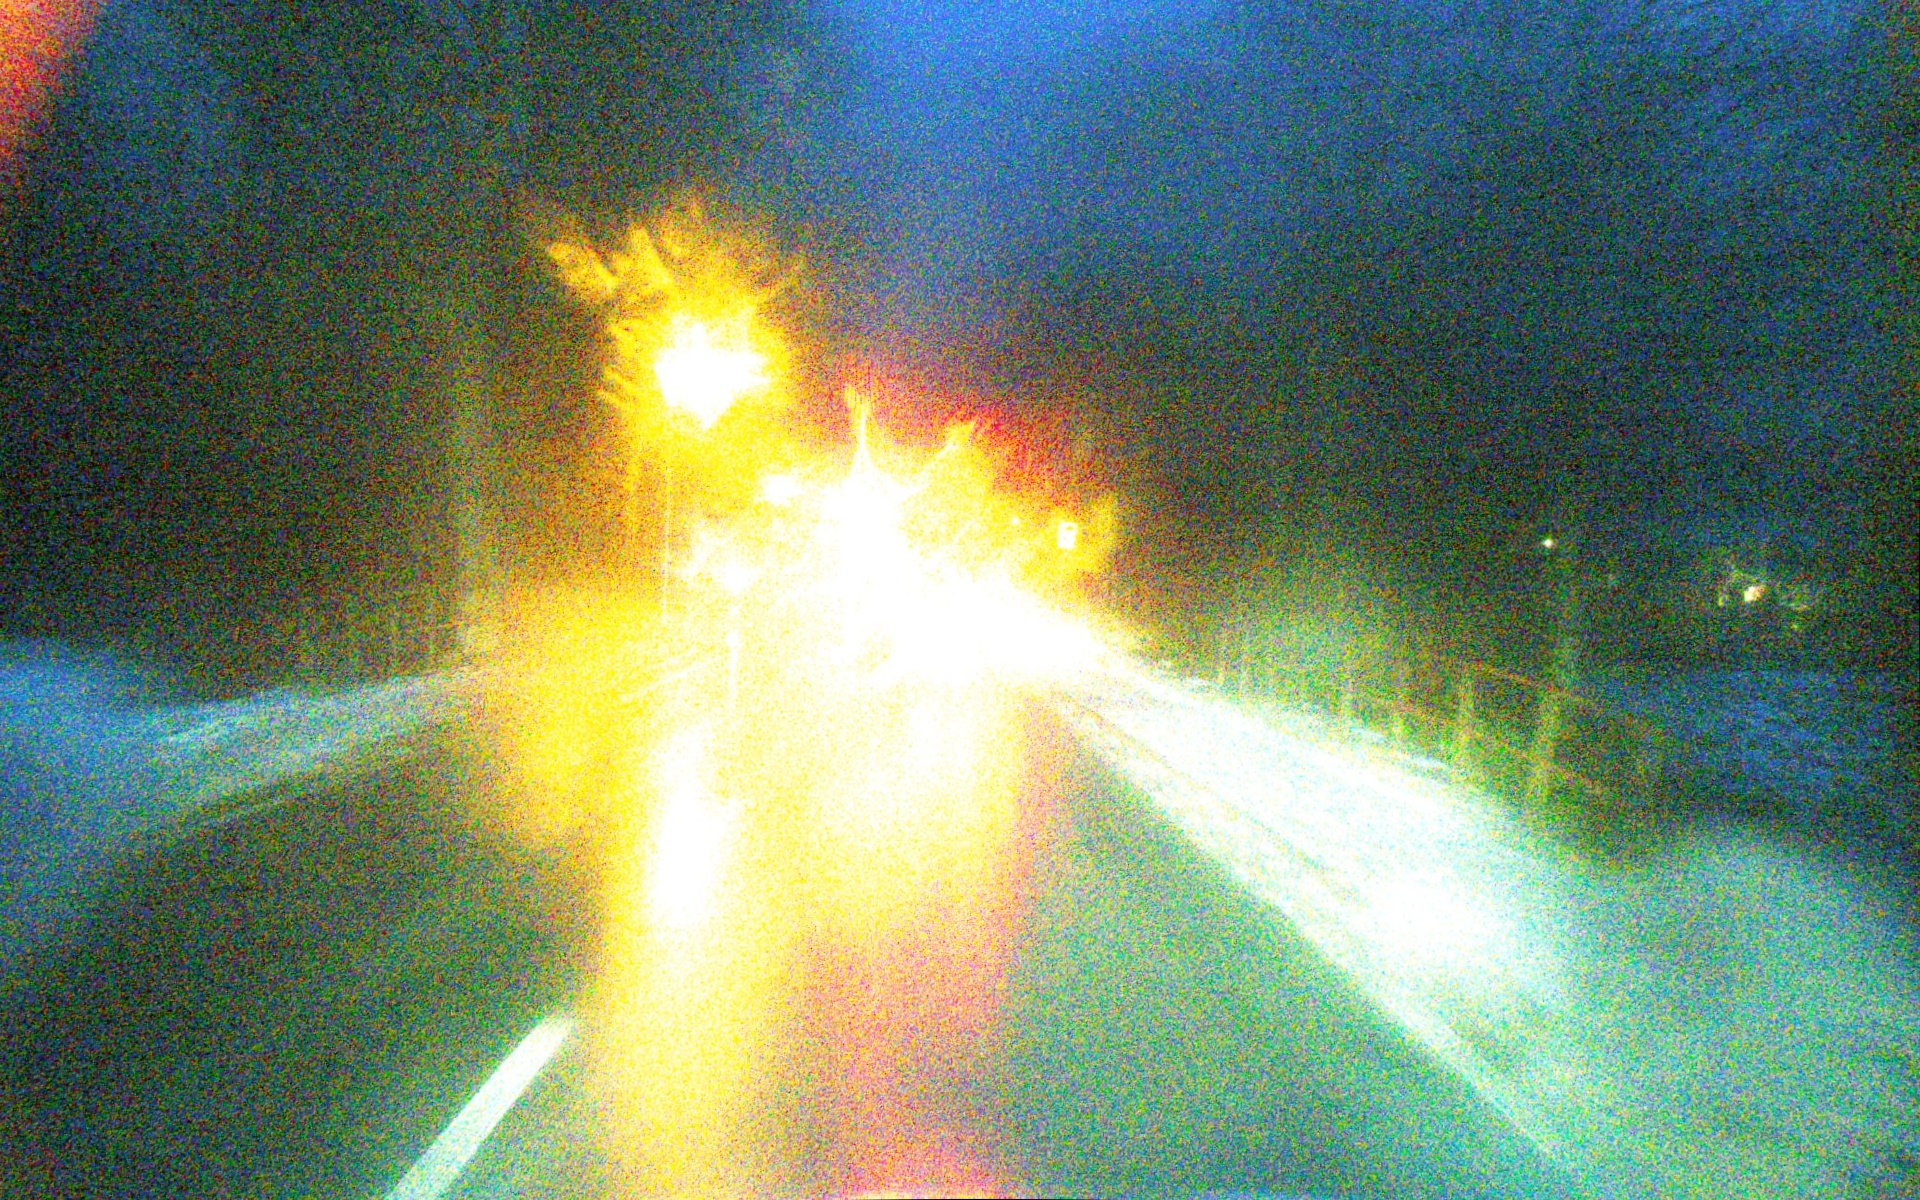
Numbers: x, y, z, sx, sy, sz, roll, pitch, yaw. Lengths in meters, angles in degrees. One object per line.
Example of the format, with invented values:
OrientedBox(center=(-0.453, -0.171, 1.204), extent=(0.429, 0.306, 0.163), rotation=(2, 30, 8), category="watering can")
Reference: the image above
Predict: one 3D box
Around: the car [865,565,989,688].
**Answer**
OrientedBox(center=(-0.534, 0.351, 25.887), extent=(1.755, 1.710, 3.904), rotation=(1, 2, -2), category="car")
